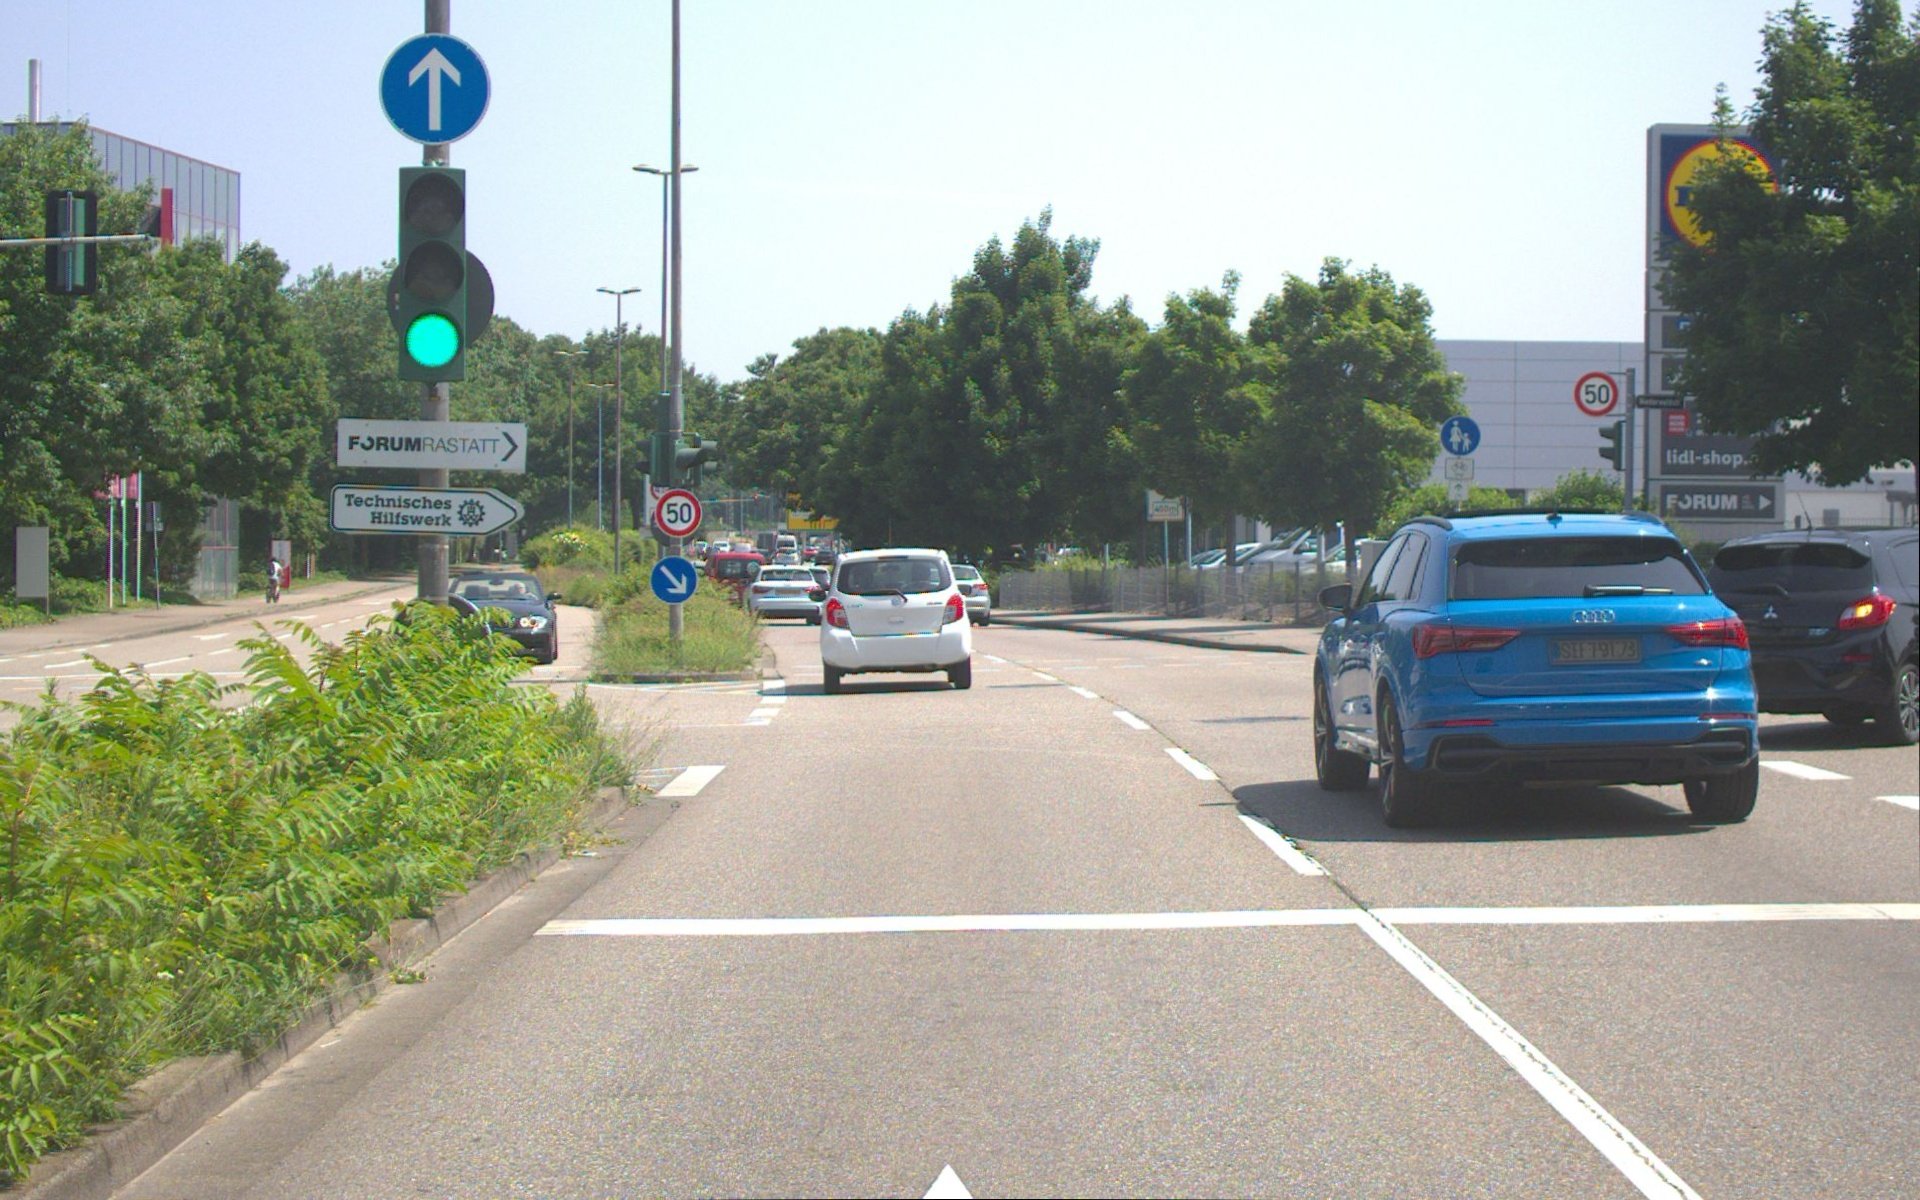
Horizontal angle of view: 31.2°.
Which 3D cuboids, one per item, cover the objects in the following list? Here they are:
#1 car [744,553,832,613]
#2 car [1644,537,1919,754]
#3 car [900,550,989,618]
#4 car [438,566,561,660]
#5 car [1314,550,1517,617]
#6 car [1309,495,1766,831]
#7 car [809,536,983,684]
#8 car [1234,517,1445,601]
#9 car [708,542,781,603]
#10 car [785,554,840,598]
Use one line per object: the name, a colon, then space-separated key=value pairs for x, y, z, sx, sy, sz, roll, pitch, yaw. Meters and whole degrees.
car: x=-4.074 y=-0.405 z=80.964 sx=1.884 sy=1.349 sz=4.001 roll=1 pitch=0 yaw=-5
car: x=6.354 y=0.264 z=23.989 sx=1.619 sy=1.396 sz=3.423 roll=0 pitch=1 yaw=41
car: x=-0.387 y=-0.379 z=78.702 sx=1.865 sy=1.468 sz=4.000 roll=1 pitch=0 yaw=-2
car: x=-6.817 y=0.168 z=51.217 sx=1.729 sy=1.319 sz=4.150 roll=-1 pitch=1 yaw=-7
car: x=9.689 y=-0.357 z=73.238 sx=3.995 sy=1.416 sz=1.698 roll=0 pitch=1 yaw=-6
car: x=2.980 y=0.263 z=18.597 sx=1.809 sy=1.587 sz=4.349 roll=-1 pitch=1 yaw=1
car: x=-0.748 y=0.091 z=37.897 sx=1.638 sy=1.547 sz=3.326 roll=-1 pitch=0 yaw=-6
car: x=8.852 y=-0.953 z=80.405 sx=4.616 sy=1.918 sz=1.827 roll=0 pitch=1 yaw=-5
car: x=-5.916 y=-0.773 z=94.619 sx=1.884 sy=1.603 sz=4.000 roll=-1 pitch=1 yaw=-2
car: x=-4.624 y=-0.750 z=107.623 sx=1.441 sy=1.343 sz=3.461 roll=-1 pitch=1 yaw=-7
